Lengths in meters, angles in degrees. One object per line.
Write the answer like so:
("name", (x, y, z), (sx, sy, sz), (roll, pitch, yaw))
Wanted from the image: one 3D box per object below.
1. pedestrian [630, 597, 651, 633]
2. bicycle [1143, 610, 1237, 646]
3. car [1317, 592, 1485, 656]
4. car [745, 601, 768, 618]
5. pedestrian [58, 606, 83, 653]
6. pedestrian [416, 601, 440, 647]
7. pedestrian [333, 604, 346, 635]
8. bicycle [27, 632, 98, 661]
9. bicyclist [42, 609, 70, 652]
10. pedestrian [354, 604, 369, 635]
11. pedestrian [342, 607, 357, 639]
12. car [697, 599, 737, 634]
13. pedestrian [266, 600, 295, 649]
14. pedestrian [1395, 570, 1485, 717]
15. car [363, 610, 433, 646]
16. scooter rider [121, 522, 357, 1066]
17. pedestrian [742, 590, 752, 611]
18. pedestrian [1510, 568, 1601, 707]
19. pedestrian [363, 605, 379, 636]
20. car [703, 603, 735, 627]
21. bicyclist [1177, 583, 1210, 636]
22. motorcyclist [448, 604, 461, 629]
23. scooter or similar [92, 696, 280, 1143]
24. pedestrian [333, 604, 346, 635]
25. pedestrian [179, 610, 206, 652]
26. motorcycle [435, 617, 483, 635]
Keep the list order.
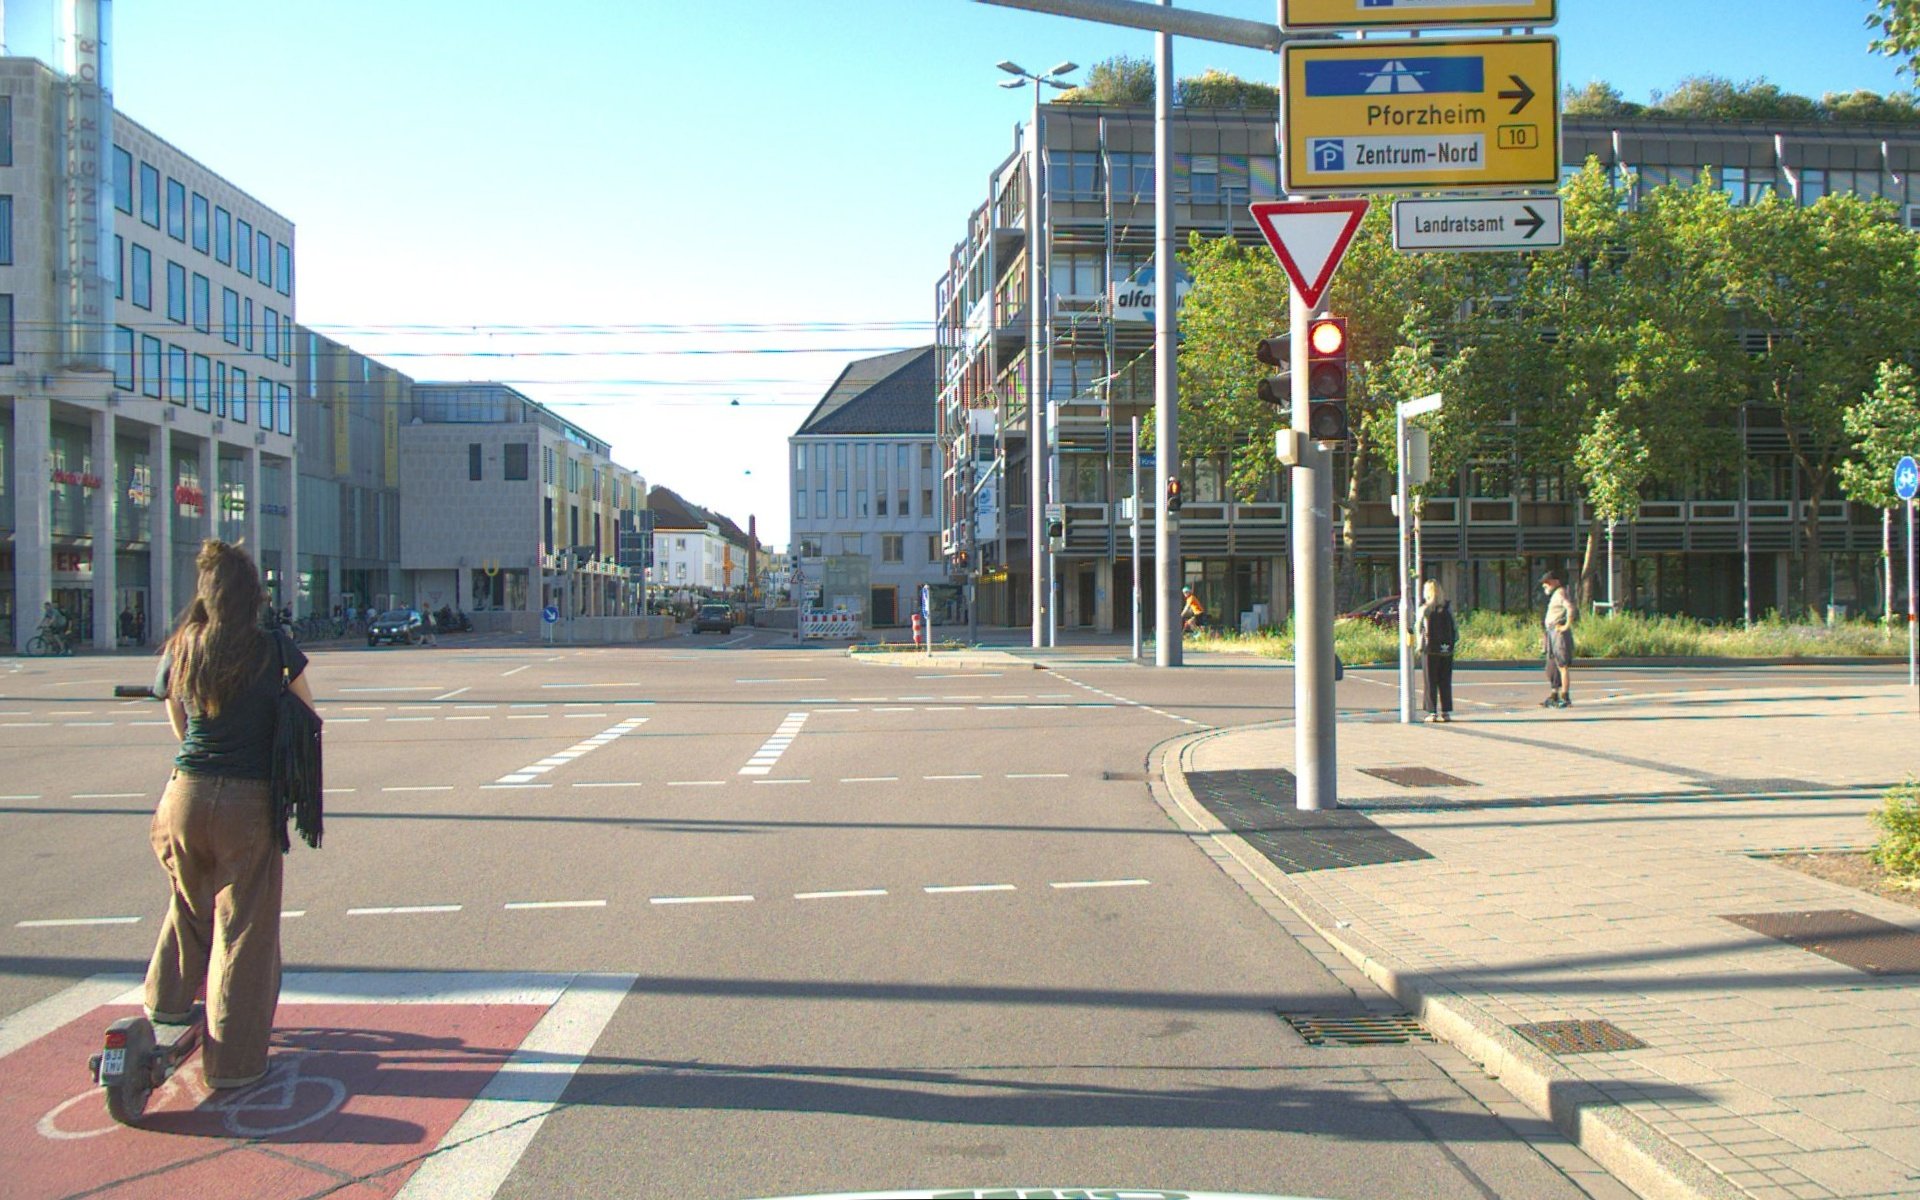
("pedestrian", (-15.957, 0.754, 82.726), (0.881, 1.814, 0.808), (0, 0, -1))
("bicycle", (6.555, 0.794, 47.199), (2.517, 0.992, 1.047), (-1, 0, -4))
("car", (12.399, 0.646, 46.601), (4.212, 1.713, 1.820), (-1, 0, -11))
("car", (-17.890, 0.819, 145.617), (1.625, 1.484, 3.541), (-1, 0, -1))
("pedestrian", (-32.672, 1.077, 60.743), (0.580, 1.674, 0.629), (-1, 0, -1))
("pedestrian", (-20.222, 0.916, 62.855), (0.685, 1.718, 0.619), (-1, 0, 0))
("pedestrian", (-36.167, 1.126, 96.420), (0.462, 1.759, 0.518), (0, -1, 38))
("bicycle", (-30.741, 1.588, 56.686), (0.622, 0.919, 2.217), (-1, 0, 23))
("bicyclist", (-30.913, 1.044, 56.584), (0.614, 1.473, 0.588), (-1, 0, 26))
("pedestrian", (-34.940, 1.148, 96.589), (0.461, 1.759, 0.627), (1, -1, 28))
("pedestrian", (-34.629, 1.302, 93.837), (0.462, 1.759, 0.626), (1, -1, 33))
("car", (-12.152, 0.805, 82.829), (1.784, 1.713, 3.995), (-1, 0, -6))
("pedestrian", (-26.527, 0.943, 64.568), (0.923, 1.897, 0.539), (-1, 0, 16))
("pedestrian", (5.499, 0.486, 18.995), (0.750, 1.642, 0.874), (-1, 0, -2))
("car", (-23.543, 1.160, 69.372), (1.642, 1.381, 4.019), (-1, 0, -2))
("scooter rider", (-2.161, 0.553, 5.002), (0.542, 1.556, 0.448), (-1, 0, -9))
("pedestrian", (-21.149, 0.042, 164.357), (0.892, 1.999, 0.822), (1, -1, -1))
("pedestrian", (7.622, 0.472, 21.193), (0.854, 1.736, 0.768), (-1, 0, -3))
("pedestrian", (-33.727, 1.161, 94.710), (0.462, 1.759, 0.692), (0, -1, 37))
("car", (-15.698, 0.957, 107.819), (1.625, 1.484, 3.541), (-1, 0, -1))
("bicyclist", (6.673, 0.276, 47.217), (0.806, 1.500, 0.652), (-1, 0, -5))
("motorcyclist", (-29.837, 0.985, 97.588), (0.616, 1.430, 0.661), (1, -1, -9))
("scooter or similar", (-2.226, 0.869, 4.810), (0.301, 1.127, 0.836), (-1, 0, -12))
("pedestrian", (-35.746, 1.128, 95.239), (0.462, 1.759, 0.518), (0, -1, 38))
("pedestrian", (-30.617, 1.245, 65.998), (0.760, 1.667, 0.626), (-1, 0, 13))
("motorcycle", (-29.534, 1.518, 97.467), (2.555, 1.010, 1.113), (1, 0, -10))
